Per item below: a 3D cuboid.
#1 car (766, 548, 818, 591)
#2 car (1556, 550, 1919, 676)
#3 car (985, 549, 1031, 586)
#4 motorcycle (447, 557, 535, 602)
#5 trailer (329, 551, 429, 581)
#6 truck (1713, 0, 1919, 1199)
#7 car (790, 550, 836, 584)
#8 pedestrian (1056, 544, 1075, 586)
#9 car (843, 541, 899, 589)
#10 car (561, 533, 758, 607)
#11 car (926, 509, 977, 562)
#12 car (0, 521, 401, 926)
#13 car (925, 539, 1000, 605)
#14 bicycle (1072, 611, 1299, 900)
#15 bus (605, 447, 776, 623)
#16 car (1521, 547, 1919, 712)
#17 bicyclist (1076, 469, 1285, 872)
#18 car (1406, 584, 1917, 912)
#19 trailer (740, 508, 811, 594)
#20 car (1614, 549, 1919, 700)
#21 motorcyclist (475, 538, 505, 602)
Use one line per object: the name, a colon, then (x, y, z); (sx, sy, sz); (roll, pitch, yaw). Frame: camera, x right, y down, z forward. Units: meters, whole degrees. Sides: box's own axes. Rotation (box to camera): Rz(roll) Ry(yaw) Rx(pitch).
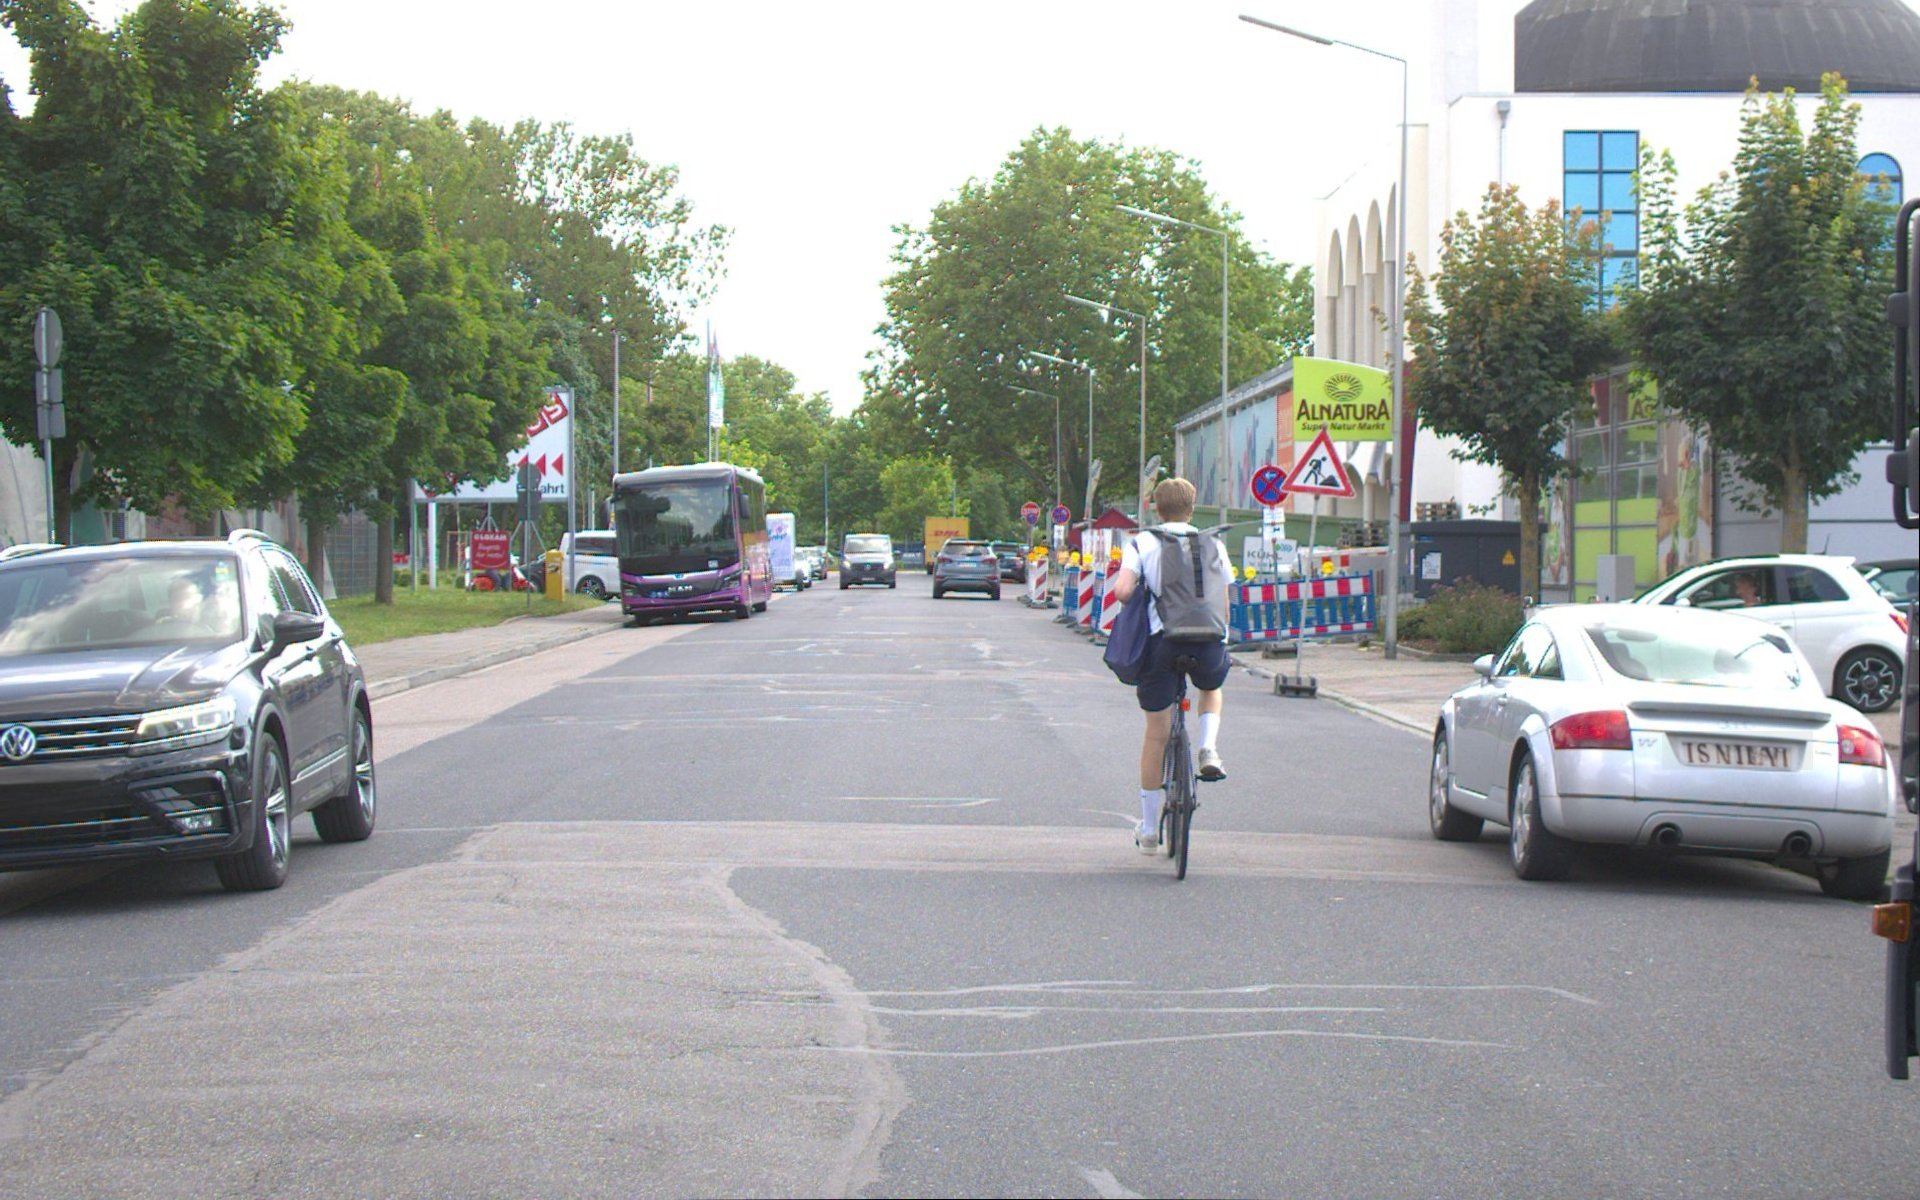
car: (-6.194, -1.129, 127.135); (1.765, 1.474, 4.235); (-2, 1, -1)
car: (9.707, 0.145, 42.920); (4.102, 1.458, 1.990); (-1, 1, -3)
car: (1.982, -1.351, 142.070); (1.808, 1.386, 4.588); (3, 1, 1)
motorcycle: (-12.688, -0.558, 93.084); (2.221, 1.209, 0.994); (0, 1, 1)
trailer: (-24.373, -1.427, 144.240); (3.818, 1.186, 1.714); (0, 1, 6)
truck: (3.359, -0.543, 4.226); (2.778, 4.102, 8.279); (3, 1, 0)
car: (-6.496, -1.476, 151.863); (1.709, 1.415, 4.331); (-2, 1, 1)
pedestrian: (3.930, -1.301, 127.984); (0.681, 1.528, 1.130); (1, 0, 0)
car: (-3.043, -1.209, 117.835); (1.868, 1.624, 4.128); (0, 1, -1)
car: (-8.082, -0.827, 92.734); (5.001, 1.942, 1.992); (0, 1, 5)
car: (-0.428, -3.198, 169.813); (2.198, 2.569, 6.405); (0, 1, -3)
car: (-3.984, 0.503, 16.406); (1.874, 1.614, 4.294); (-4, 1, -1)
car: (0.053, -0.818, 97.303); (1.962, 1.809, 4.276); (0, 1, -2)
bicycle: (1.007, 0.670, 16.028); (0.798, 1.176, 2.627); (2, 1, -1)
bus: (-5.820, -1.417, 76.366); (2.663, 3.411, 13.219); (-3, 1, 0)
car: (7.231, 0.262, 32.565); (3.600, 1.465, 1.688); (-1, 1, 4)
bicyclist: (1.012, 0.312, 16.078); (0.806, 1.786, 1.207); (2, 0, -1)
car: (3.461, 0.669, 17.678); (1.661, 1.336, 3.985); (4, 1, -1)
trailer: (-6.229, -1.661, 116.365); (2.139, 2.773, 4.703); (-2, 1, -1)
car: (8.927, 0.215, 34.842); (4.179, 1.425, 1.807); (-1, 1, -3)
motorcyclist: (-12.723, -0.815, 93.079); (0.674, 1.717, 0.994); (0, 1, 0)
